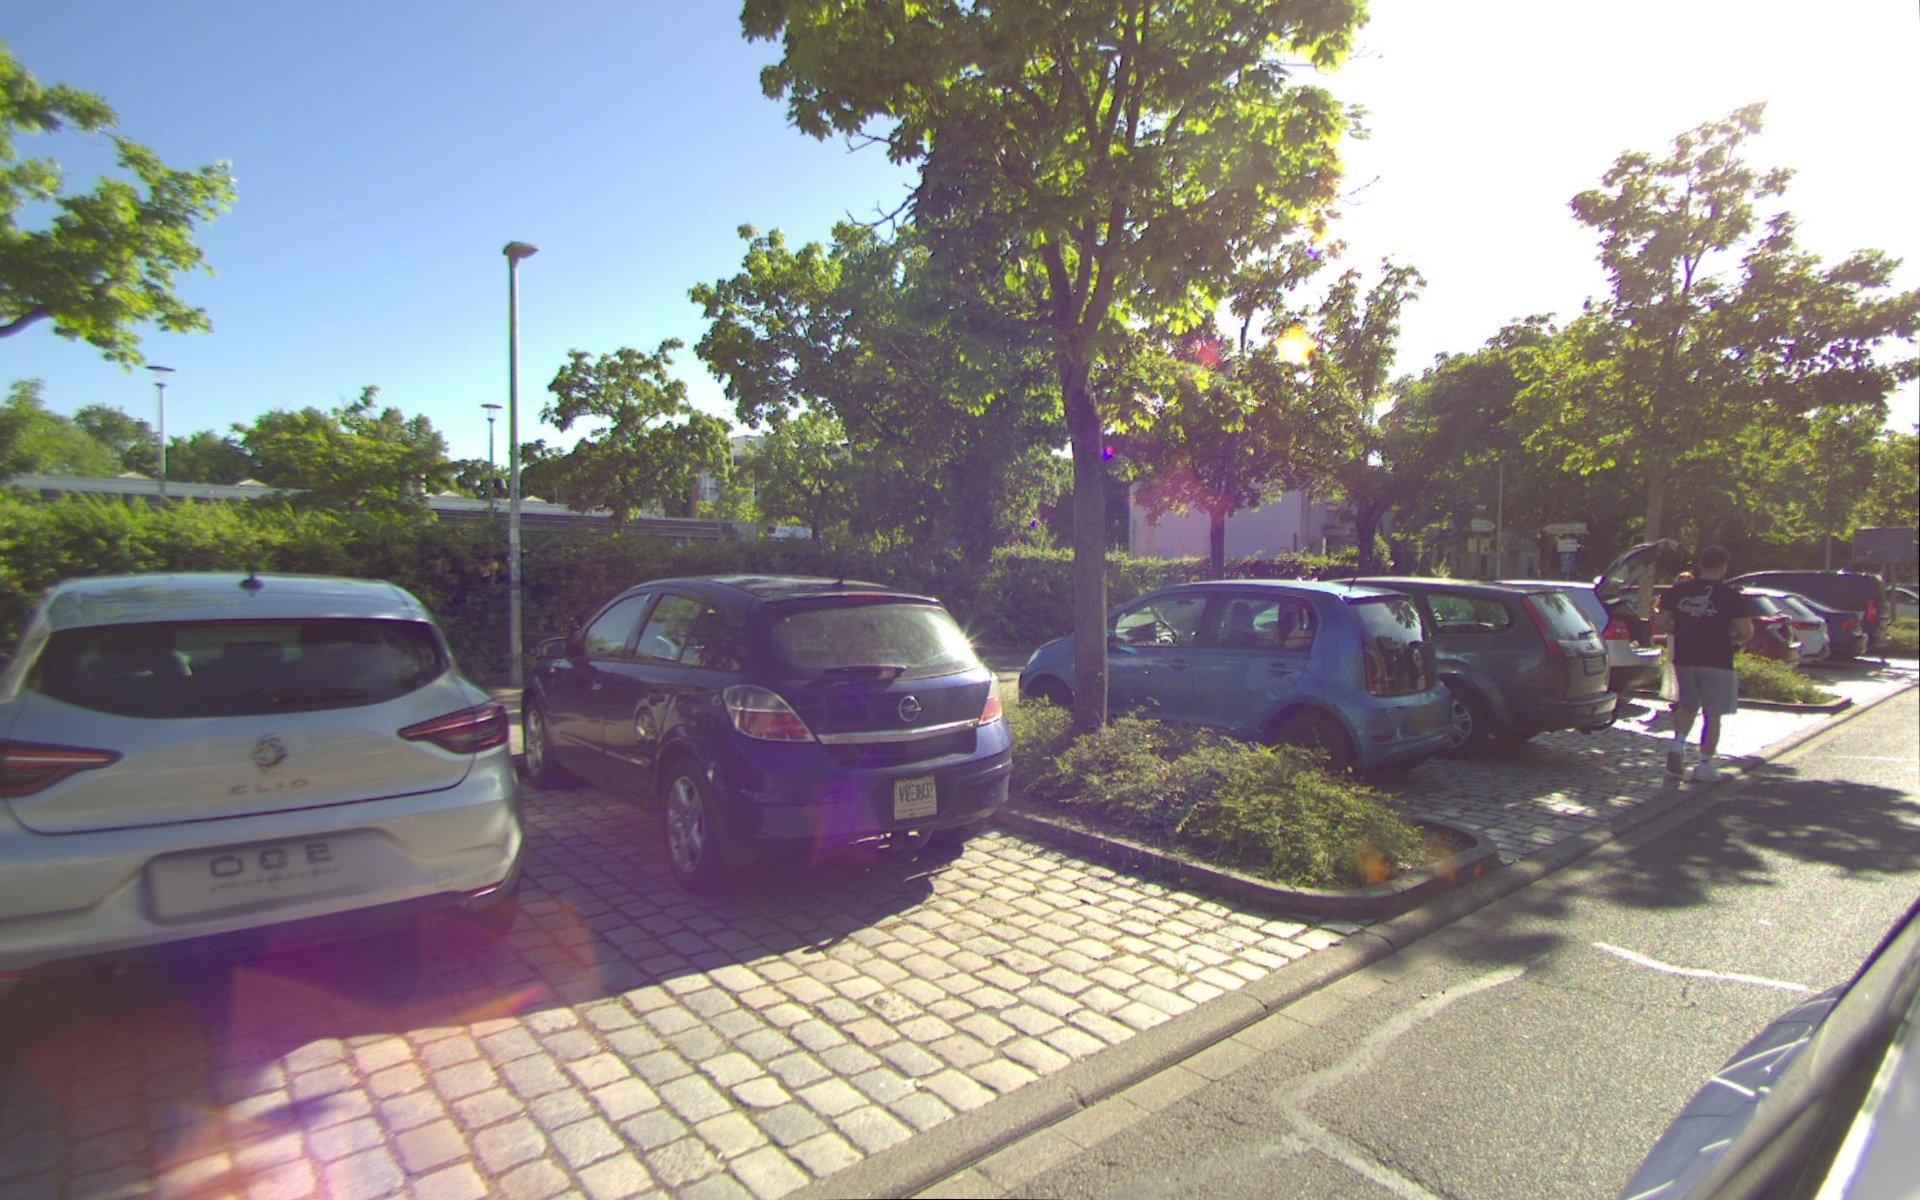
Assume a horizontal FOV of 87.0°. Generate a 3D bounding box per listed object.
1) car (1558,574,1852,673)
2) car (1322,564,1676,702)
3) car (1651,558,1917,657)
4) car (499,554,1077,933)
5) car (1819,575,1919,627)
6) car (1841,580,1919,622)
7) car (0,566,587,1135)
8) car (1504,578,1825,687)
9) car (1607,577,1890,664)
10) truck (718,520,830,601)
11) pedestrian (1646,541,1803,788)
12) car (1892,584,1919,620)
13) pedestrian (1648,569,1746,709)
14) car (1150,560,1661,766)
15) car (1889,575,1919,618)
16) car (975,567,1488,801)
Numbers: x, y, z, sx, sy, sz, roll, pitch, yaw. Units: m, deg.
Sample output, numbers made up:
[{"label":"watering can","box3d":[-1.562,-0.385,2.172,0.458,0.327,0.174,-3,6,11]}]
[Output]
[{"label":"car","box3d":[13.130,0.334,18.003,1.777,1.454,3.906,0,3,-42]},{"label":"car","box3d":[7.145,0.336,13.720,1.651,1.597,3.905,1,1,-42]},{"label":"car","box3d":[17.700,0.062,21.916,1.847,1.869,4.164,-1,3,-40]},{"label":"car","box3d":[-1.321,0.506,6.142,1.809,1.516,3.905,0,2,-38]},{"label":"car","box3d":[31.287,0.039,33.479,1.798,1.617,4.162,-1,3,-42]},{"label":"car","box3d":[34.705,0.061,36.522,1.798,1.423,4.162,-1,3,-42]},{"label":"car","box3d":[-3.160,0.589,4.412,1.809,1.434,3.742,0,2,-38]},{"label":"car","box3d":[11.028,0.410,16.047,1.644,1.444,3.905,-2,3,-42]},{"label":"car","box3d":[15.479,0.317,20.040,1.798,1.423,4.162,-1,3,-42]},{"label":"truck","box3d":[-9.739,-2.003,52.443,2.760,3.854,6.919,1,1,-38]},{"label":"pedestrian","box3d":[6.039,0.444,7.987,1.148,1.793,0.720,-1,3,-42]},{"label":"car","box3d":[40.261,0.150,40.497,1.798,1.423,4.162,-1,3,-42]},{"label":"pedestrian","box3d":[8.777,0.441,12.062,0.661,1.599,0.766,1,0,-37]},{"label":"car","box3d":[4.062,0.408,9.802,1.707,1.538,4.192,-1,2,-42]},{"label":"car","box3d":[42.020,-0.095,42.170,1.798,1.794,4.657,-1,3,-42]},{"label":"car","box3d":[2.037,0.497,8.460,1.593,1.486,3.905,1,1,-42]}]
